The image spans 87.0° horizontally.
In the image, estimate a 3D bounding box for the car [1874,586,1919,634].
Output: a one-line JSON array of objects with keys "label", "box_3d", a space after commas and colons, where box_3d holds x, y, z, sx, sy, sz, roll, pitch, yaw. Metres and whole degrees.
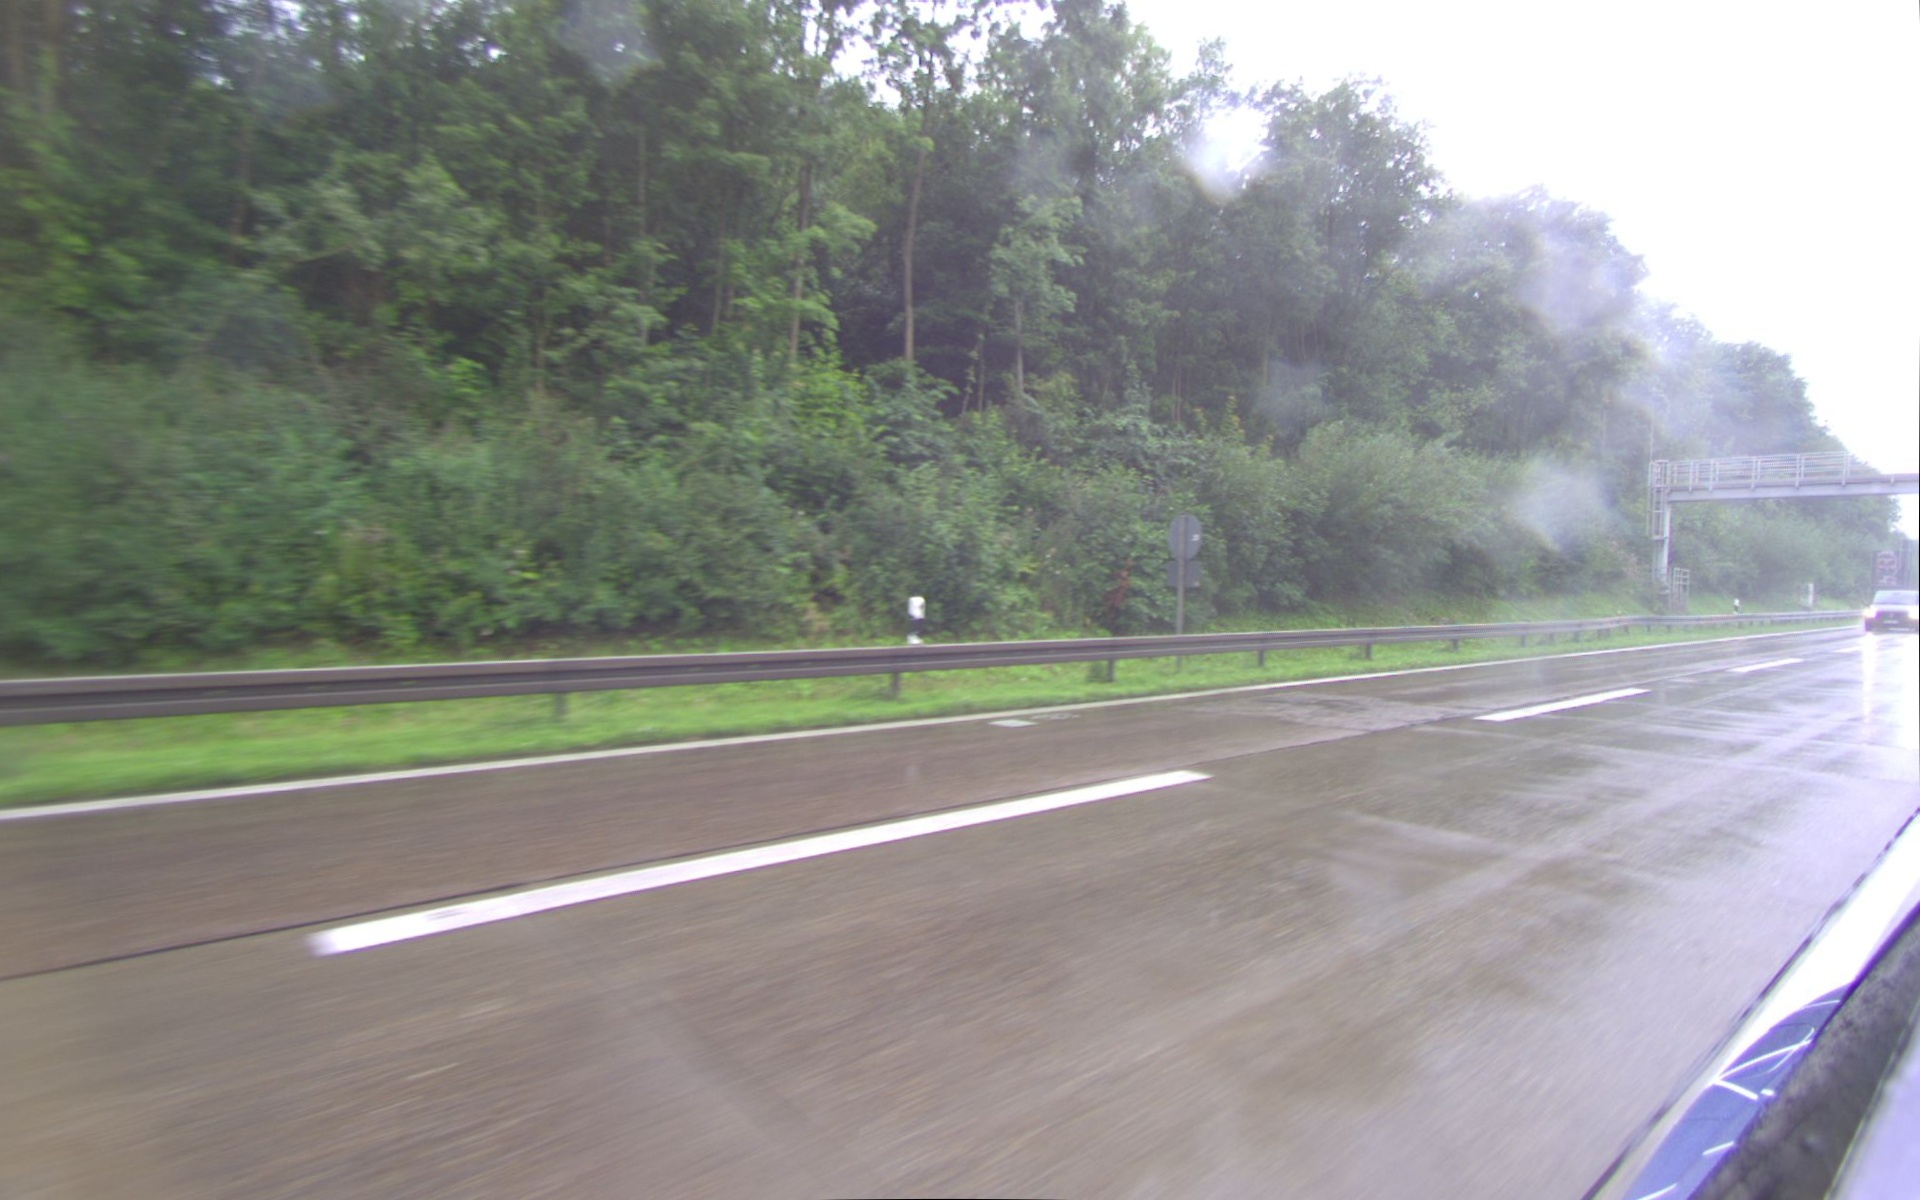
[{"label": "car", "box_3d": [42.584, 0.421, 45.282, 3.927, 2.039, 1.859, 0, 1, -38]}]
